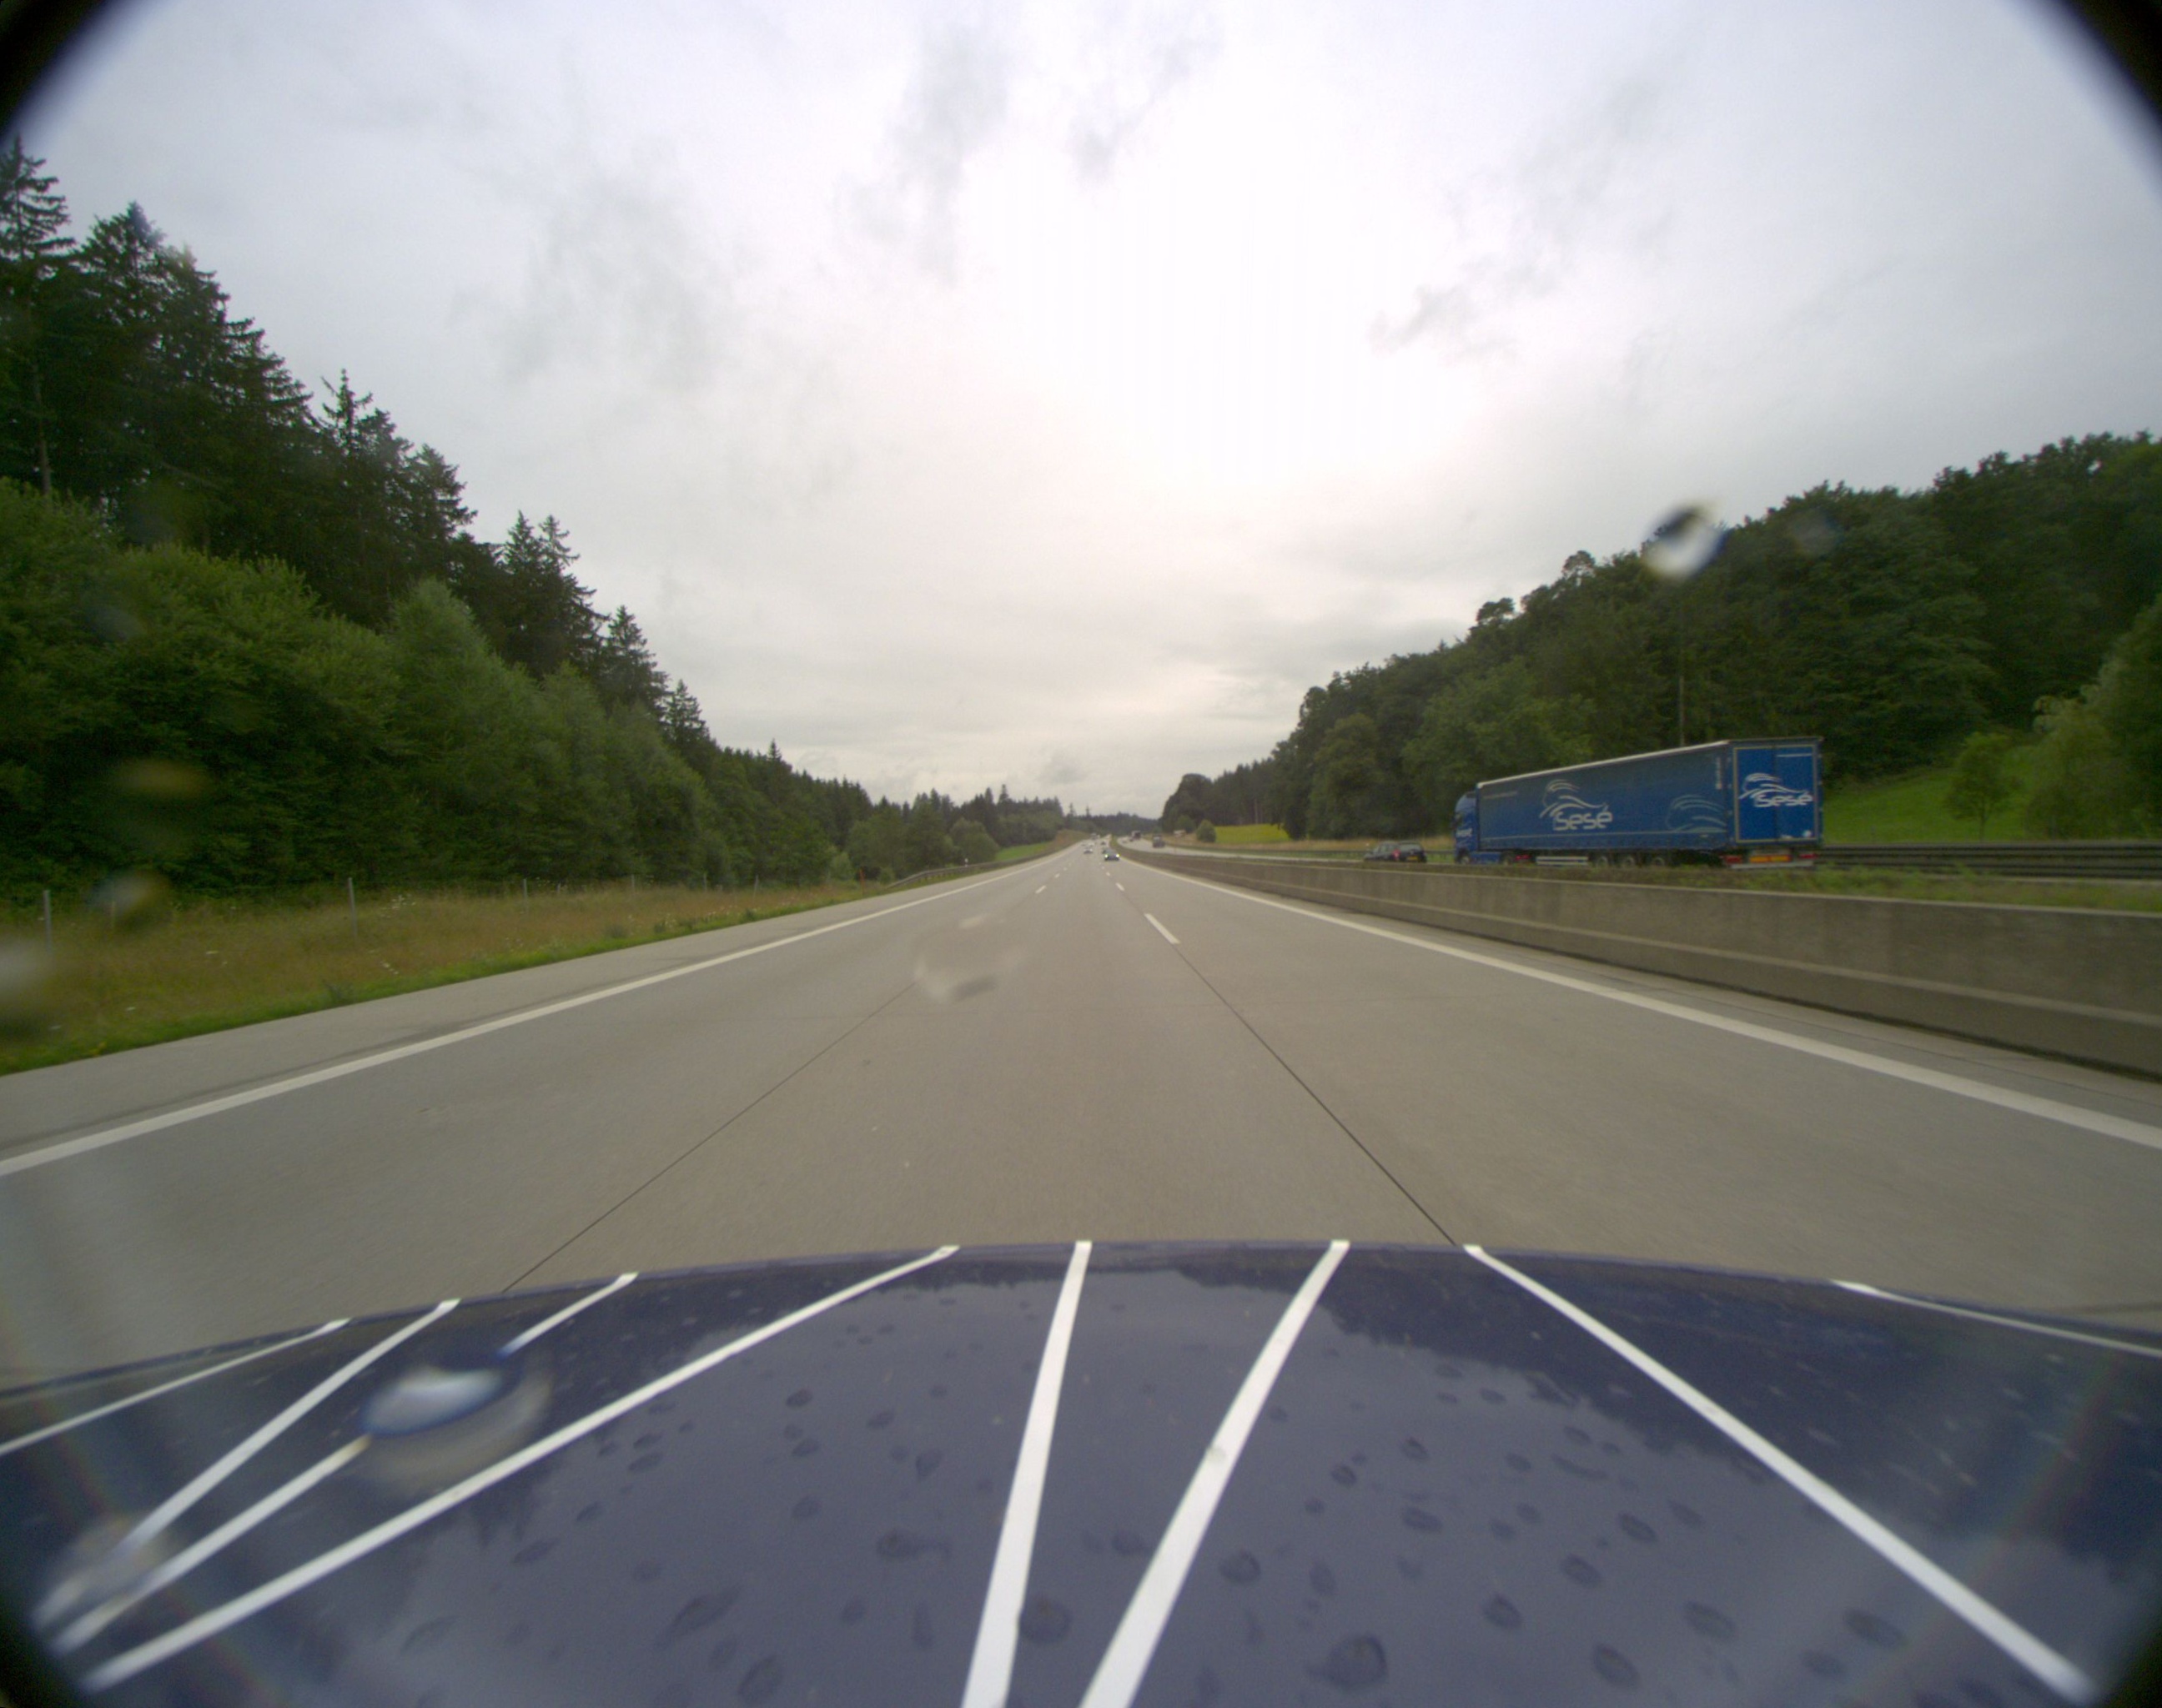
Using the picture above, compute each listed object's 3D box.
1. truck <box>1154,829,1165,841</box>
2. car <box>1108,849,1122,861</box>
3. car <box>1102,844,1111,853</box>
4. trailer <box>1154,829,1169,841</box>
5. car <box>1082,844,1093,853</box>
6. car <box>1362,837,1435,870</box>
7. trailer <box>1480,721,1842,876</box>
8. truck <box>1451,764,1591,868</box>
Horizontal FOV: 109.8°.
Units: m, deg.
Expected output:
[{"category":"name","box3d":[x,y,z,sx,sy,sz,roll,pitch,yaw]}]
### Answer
[{"category":"truck","box3d":[23.325,-5.683,225.860,2.763,3.497,6.639,-3,2,1]},{"category":"car","box3d":[4.630,0.102,102.382,1.766,1.455,4.000,-2,0,3]},{"category":"car","box3d":[5.628,-1.128,165.788,1.773,1.783,4.000,-2,0,0]},{"category":"trailer","box3d":[23.240,-5.505,219.386,2.792,3.488,13.881,-3,2,1]},{"category":"car","box3d":[1.468,-1.253,173.436,2.213,2.002,4.833,-3,1,1]},{"category":"car","box3d":[15.609,-0.068,37.660,1.641,1.492,4.517,-3,1,-1]},{"category":"trailer","box3d":[19.678,-1.560,27.911,2.717,4.184,13.792,-3,0,1]},{"category":"truck","box3d":[19.763,-1.607,34.596,2.698,4.164,6.210,-3,1,1]}]
